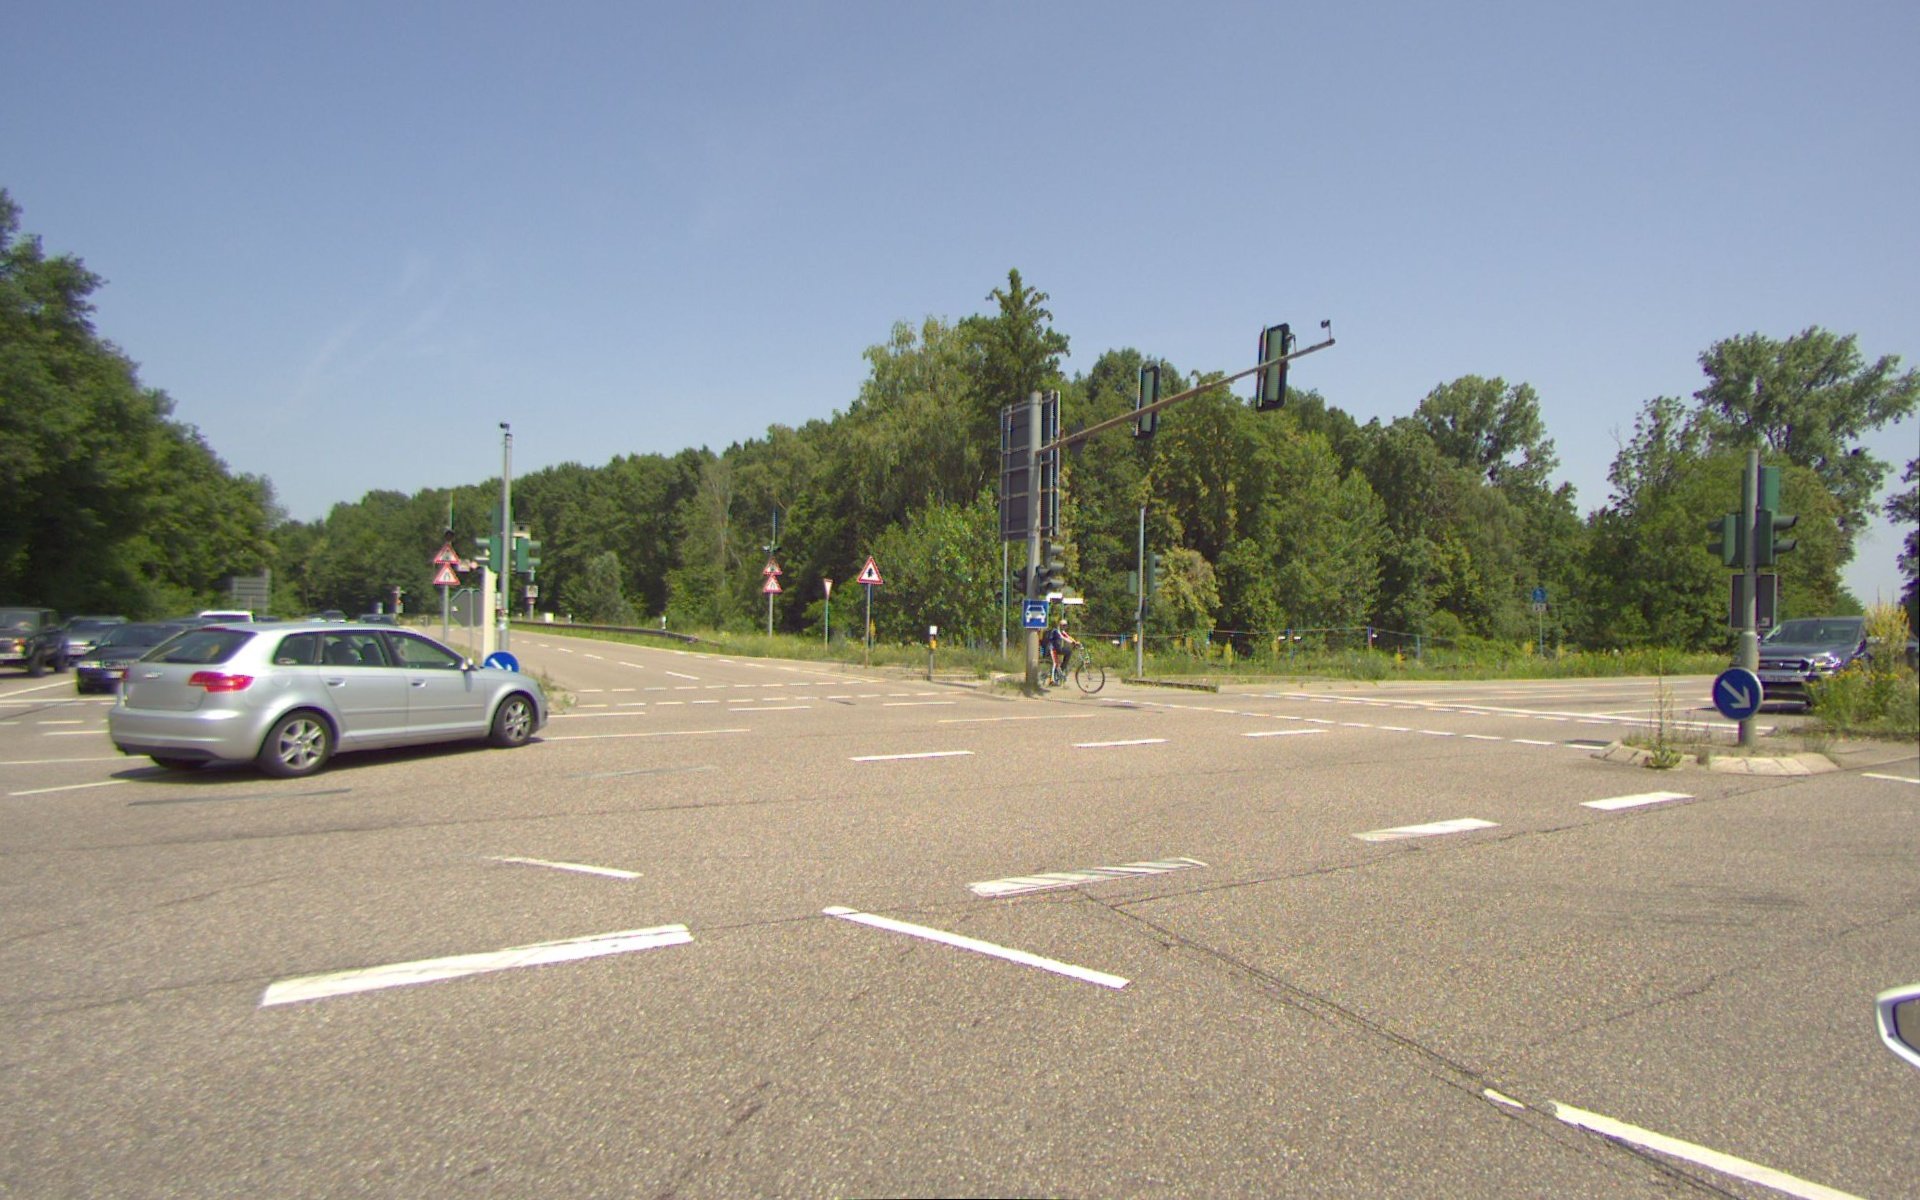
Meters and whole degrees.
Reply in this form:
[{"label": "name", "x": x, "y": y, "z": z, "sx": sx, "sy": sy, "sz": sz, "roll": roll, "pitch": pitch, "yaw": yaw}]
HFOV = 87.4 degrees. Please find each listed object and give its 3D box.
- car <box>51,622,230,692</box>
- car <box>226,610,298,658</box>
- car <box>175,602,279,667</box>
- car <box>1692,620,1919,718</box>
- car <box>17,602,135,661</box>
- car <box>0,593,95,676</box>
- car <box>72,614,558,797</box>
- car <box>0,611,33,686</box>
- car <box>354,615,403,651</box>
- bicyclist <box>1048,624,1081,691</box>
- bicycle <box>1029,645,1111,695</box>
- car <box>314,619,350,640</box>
[{"label": "car", "x": -17.166, "y": 1.129, "z": 21.324, "sx": 2.080, "sy": 1.307, "sz": 4.784, "roll": 1, "pitch": -2, "yaw": -29}, {"label": "car", "x": -27.806, "y": 1.342, "z": 40.147, "sx": 1.977, "sy": 1.780, "sz": 4.781, "roll": 1, "pitch": -2, "yaw": -31}, {"label": "car", "x": -23.367, "y": 1.071, "z": 32.205, "sx": 2.041, "sy": 1.920, "sz": 4.785, "roll": 1, "pitch": -2, "yaw": -28}, {"label": "car", "x": 16.769, "y": 1.283, "z": 19.619, "sx": 5.301, "sy": 1.700, "sz": 1.985, "roll": 2, "pitch": -2, "yaw": -30}, {"label": "car", "x": -26.876, "y": 0.951, "z": 30.693, "sx": 1.851, "sy": 1.657, "sz": 4.377, "roll": 1, "pitch": -2, "yaw": -30}, {"label": "car", "x": -23.858, "y": 0.839, "z": 25.475, "sx": 1.976, "sy": 1.923, "sz": 4.783, "roll": 1, "pitch": -2, "yaw": -30}, {"label": "car", "x": -6.308, "y": 0.898, "z": 10.418, "sx": 1.735, "sy": 1.410, "sz": 4.014, "roll": 2, "pitch": 0, "yaw": 20}, {"label": "car", "x": -21.011, "y": 0.993, "z": 20.408, "sx": 2.104, "sy": 1.588, "sz": 4.783, "roll": 1, "pitch": -2, "yaw": -29}, {"label": "car", "x": -26.720, "y": 1.502, "z": 46.146, "sx": 1.841, "sy": 1.538, "sz": 4.781, "roll": 1, "pitch": -2, "yaw": -31}, {"label": "bicyclist", "x": 2.406, "y": 1.296, "z": 22.989, "sx": 0.701, "sy": 1.479, "sz": 0.927, "roll": 1, "pitch": -1, "yaw": 8}, {"label": "bicycle", "x": 2.528, "y": 1.588, "z": 22.969, "sx": 1.831, "sy": 1.077, "sz": 0.725, "roll": 1, "pitch": -1, "yaw": 8}, {"label": "car", "x": -51.592, "y": 2.422, "z": 82.634, "sx": 1.974, "sy": 1.657, "sz": 4.790, "roll": 1, "pitch": -2, "yaw": -26}]
